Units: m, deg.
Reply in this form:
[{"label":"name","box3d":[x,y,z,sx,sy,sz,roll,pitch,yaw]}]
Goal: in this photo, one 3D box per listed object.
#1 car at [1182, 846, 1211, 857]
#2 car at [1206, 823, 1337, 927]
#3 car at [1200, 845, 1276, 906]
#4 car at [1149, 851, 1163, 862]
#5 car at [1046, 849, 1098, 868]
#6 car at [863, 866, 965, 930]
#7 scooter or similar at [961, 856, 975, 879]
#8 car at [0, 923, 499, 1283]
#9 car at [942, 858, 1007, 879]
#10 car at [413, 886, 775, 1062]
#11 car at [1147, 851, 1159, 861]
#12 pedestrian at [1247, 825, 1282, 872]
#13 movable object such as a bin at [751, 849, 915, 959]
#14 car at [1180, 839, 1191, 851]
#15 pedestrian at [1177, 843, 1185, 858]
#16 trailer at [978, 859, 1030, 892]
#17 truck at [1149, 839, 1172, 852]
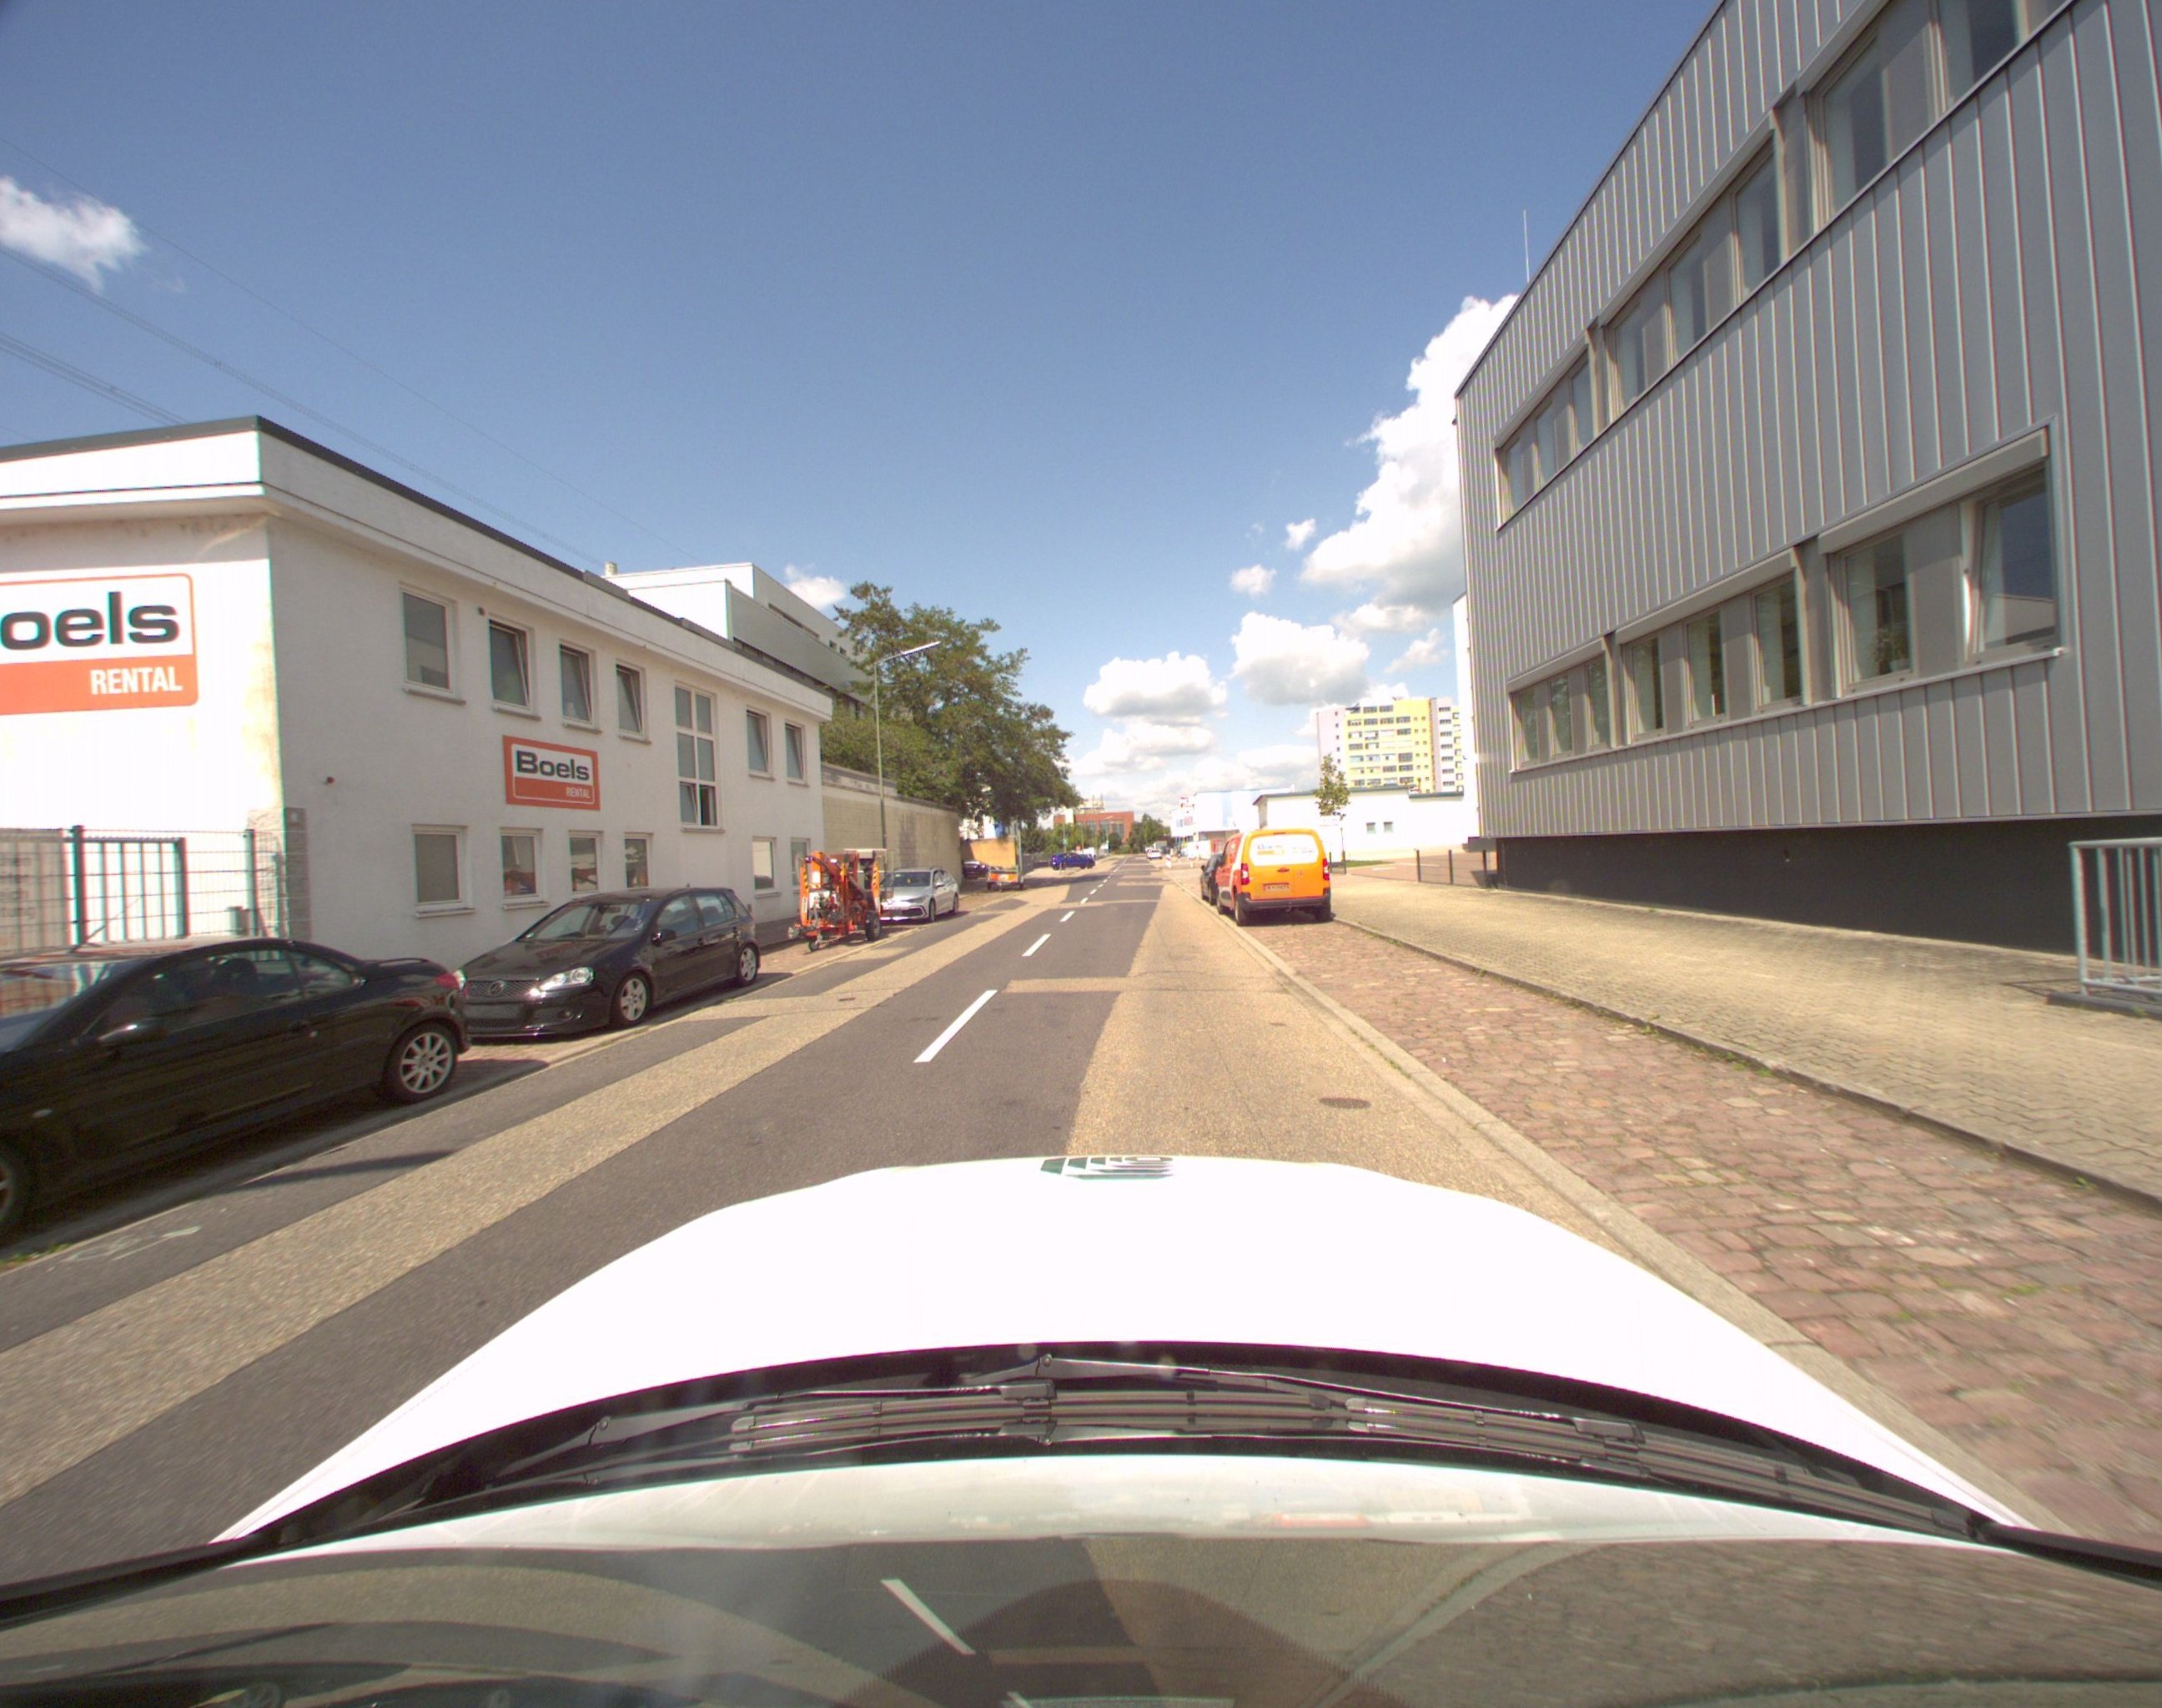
[{"label":"car","box3d":[17.858,-0.399,126.018,4.260,1.420,2.002,-4,0,4]},{"label":"car","box3d":[3.878,0.386,17.309,1.865,1.892,4.455,1,0,2]},{"label":"car","box3d":[4.349,0.548,23.023,1.651,1.558,4.183,-1,0,5]},{"label":"car","box3d":[10.974,0.328,120.066,1.860,1.520,4.602,-3,0,3]},{"label":"car","box3d":[-0.868,0.444,79.863,4.696,1.593,1.905,-4,0,-16]},{"label":"car","box3d":[-4.462,1.126,22.435,1.666,1.455,4.516,-1,0,2]},{"label":"scooter or similar","box3d":[-6.280,0.728,45.198,0.480,1.279,1.362,-1,0,4]},{"label":"car","box3d":[-5.742,1.289,4.817,1.666,1.376,3.886,-1,0,2]},{"label":"car","box3d":[-7.152,0.997,54.907,3.972,1.362,1.798,-1,0,7]},{"label":"car","box3d":[-5.396,1.217,9.808,1.666,1.455,4.226,-1,0,2]},{"label":"car","box3d":[11.764,0.328,132.932,1.827,1.520,4.465,-3,0,3]},{"label":"pedestrian","box3d":[8.094,-0.232,35.910,0.993,1.951,1.084,-4,0,-19]},{"label":"movable object such as a bin","box3d":[-4.953,0.876,17.091,1.607,1.919,5.143,1,1,3]},{"label":"car","box3d":[21.733,-1.798,169.297,1.915,2.463,5.265,-3,0,4]},{"label":"pedestrian","box3d":[12.012,-0.406,97.664,0.766,1.756,0.788,-5,0,3]},{"label":"trailer","box3d":[-3.592,0.966,38.865,1.759,1.439,4.340,-1,0,4]},{"label":"truck","box3d":[23.433,-2.555,239.505,2.298,3.567,9.428,-1,2,34]}]
